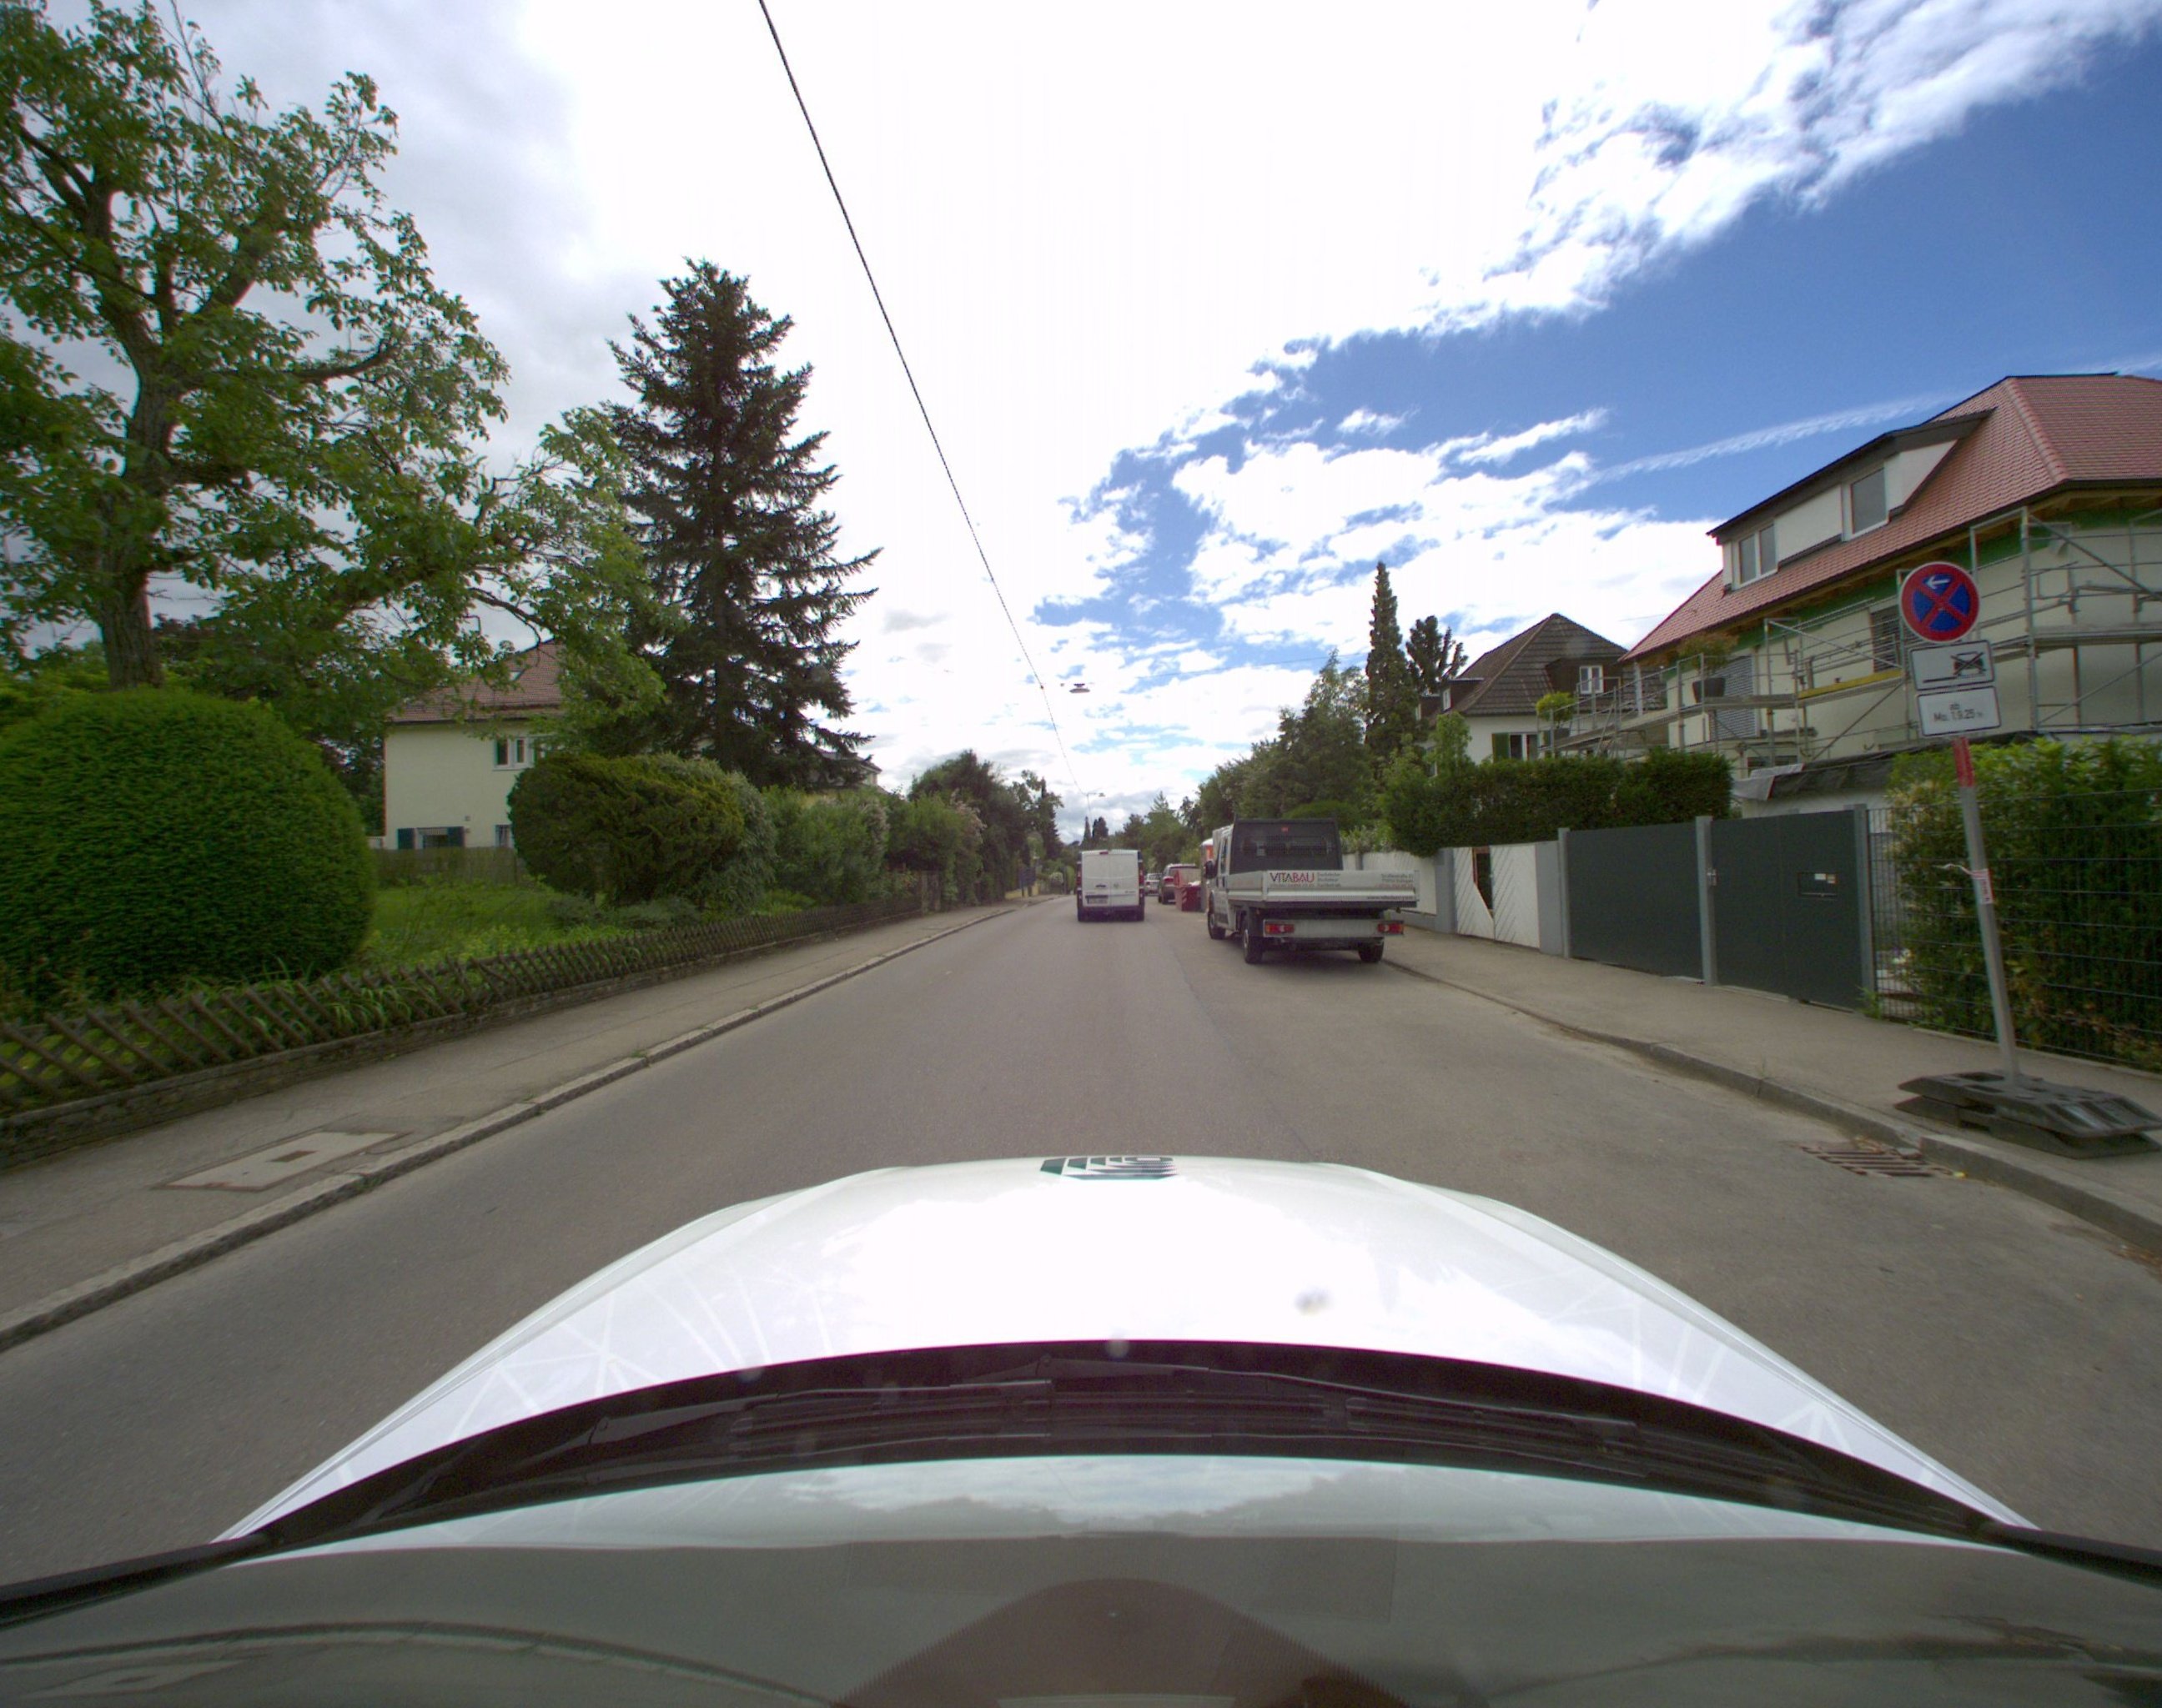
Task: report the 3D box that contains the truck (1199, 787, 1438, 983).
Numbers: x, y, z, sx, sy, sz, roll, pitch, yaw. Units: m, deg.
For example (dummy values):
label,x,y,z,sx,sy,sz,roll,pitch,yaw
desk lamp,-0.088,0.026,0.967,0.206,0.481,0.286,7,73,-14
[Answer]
label,x,y,z,sx,sy,sz,roll,pitch,yaw
truck,3.544,0.465,14.061,2.179,2.472,7.433,-1,-1,2

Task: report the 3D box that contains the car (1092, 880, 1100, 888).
label,x,y,z,sx,sy,sz,roll,pitch,yaw
car,3.242,6.523,177.691,1.738,1.526,4.012,-2,-2,1

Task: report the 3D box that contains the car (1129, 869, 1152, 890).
label,x,y,z,sx,sy,sz,roll,pitch,yaw
car,5.101,2.192,70.155,1.738,1.629,4.259,-2,-2,1

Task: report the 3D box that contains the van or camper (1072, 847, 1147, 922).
label,x,y,z,sx,sy,sz,roll,pitch,yaw
van or camper,0.815,0.888,23.856,1.932,1.954,4.765,-1,-2,1

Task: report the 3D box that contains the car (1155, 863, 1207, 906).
label,x,y,z,sx,sy,sz,roll,pitch,yaw
car,4.213,1.280,34.916,1.738,1.675,4.185,-2,-2,1

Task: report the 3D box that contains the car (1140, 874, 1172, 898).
label,x,y,z,sx,sy,sz,roll,pitch,yaw
car,4.883,2.052,53.440,1.738,1.447,4.259,-2,-2,1
